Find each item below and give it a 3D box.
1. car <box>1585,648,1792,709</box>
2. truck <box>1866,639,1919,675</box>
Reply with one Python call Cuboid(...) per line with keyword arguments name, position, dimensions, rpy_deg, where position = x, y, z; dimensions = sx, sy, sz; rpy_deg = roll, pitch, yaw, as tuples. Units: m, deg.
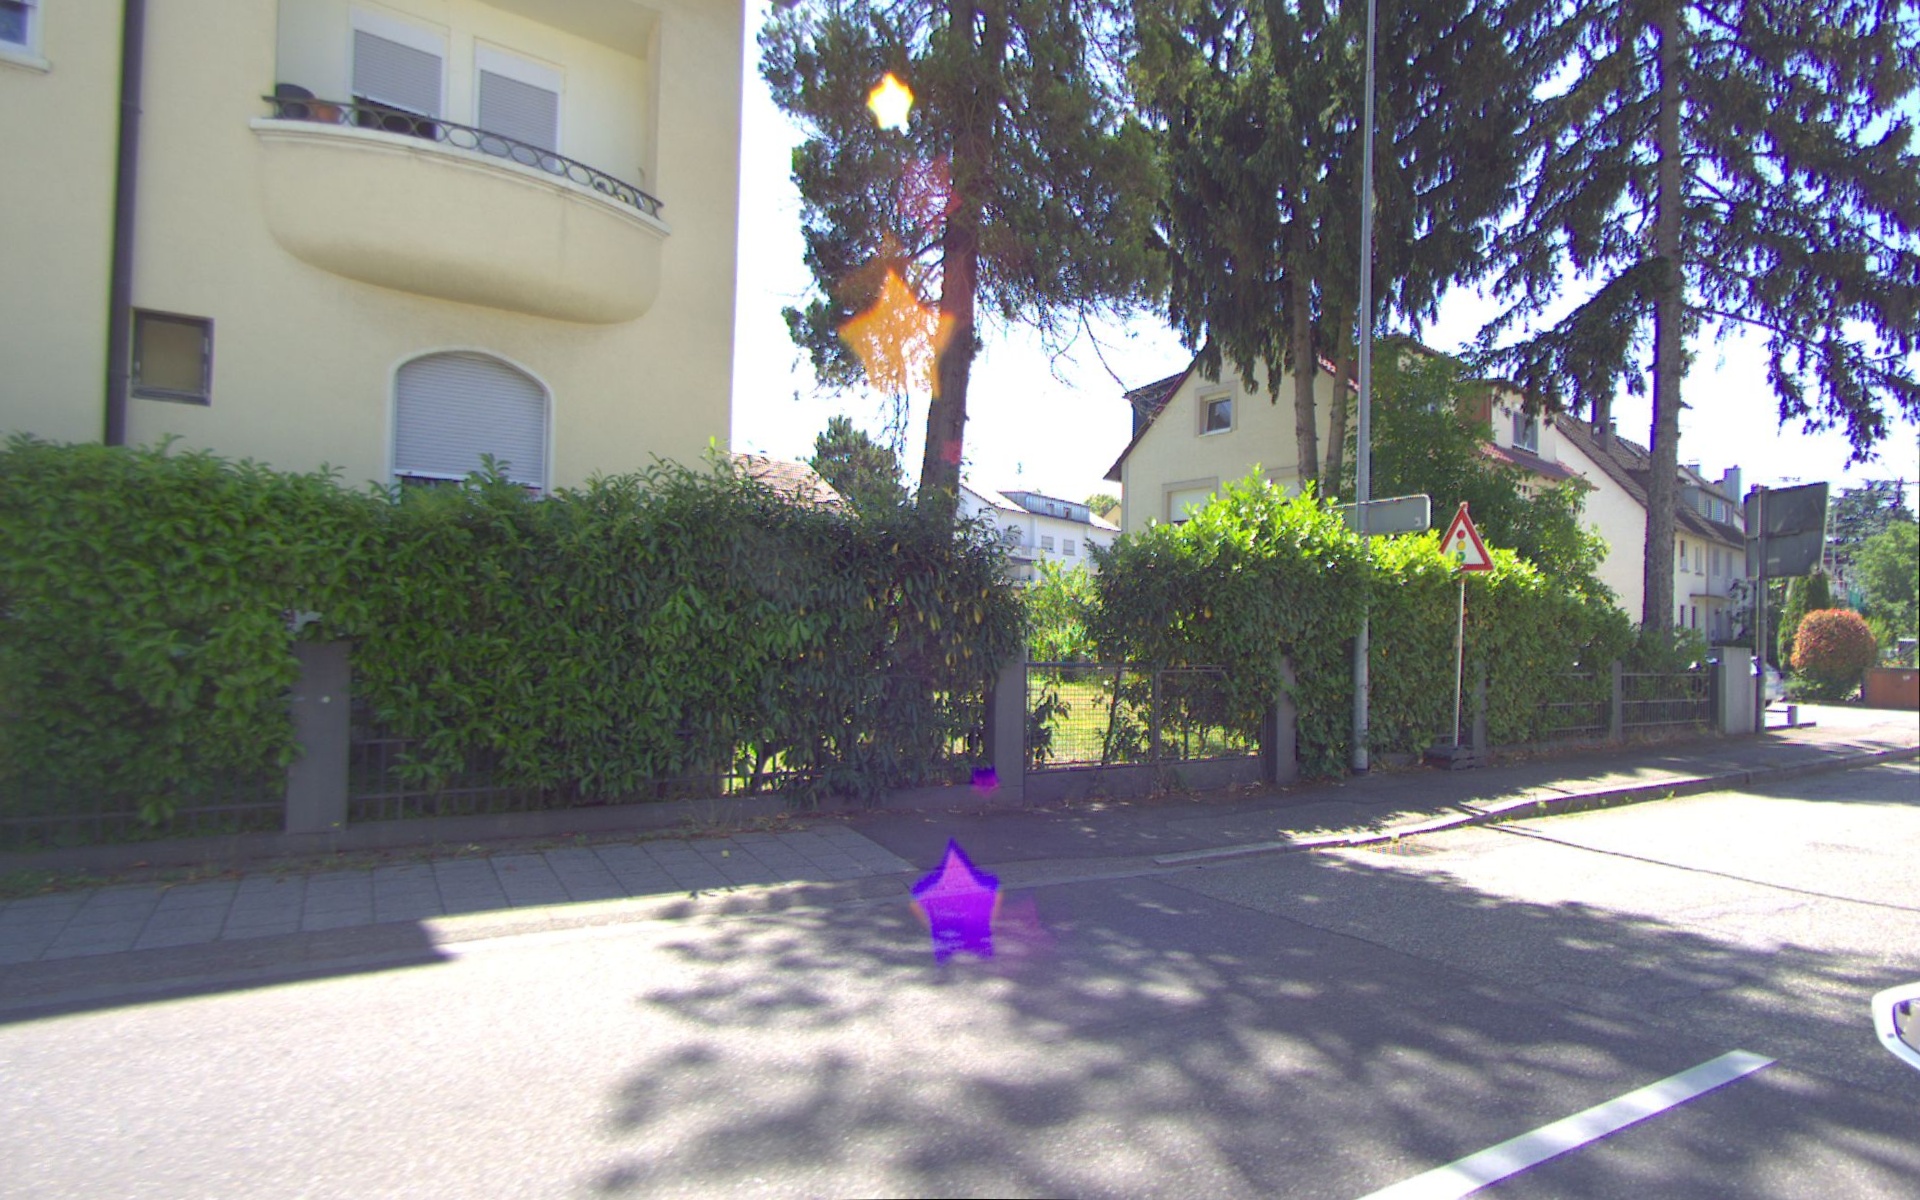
Cuboid(name="car", position=(20.600, 2.175, 28.595), dimensions=(1.828, 1.460, 4.440), rpy_deg=(3, -2, -34))
Cuboid(name="truck", position=(52.143, 3.097, 54.924), dimensions=(1.535, 1.963, 3.733), rpy_deg=(2, -3, -42))
